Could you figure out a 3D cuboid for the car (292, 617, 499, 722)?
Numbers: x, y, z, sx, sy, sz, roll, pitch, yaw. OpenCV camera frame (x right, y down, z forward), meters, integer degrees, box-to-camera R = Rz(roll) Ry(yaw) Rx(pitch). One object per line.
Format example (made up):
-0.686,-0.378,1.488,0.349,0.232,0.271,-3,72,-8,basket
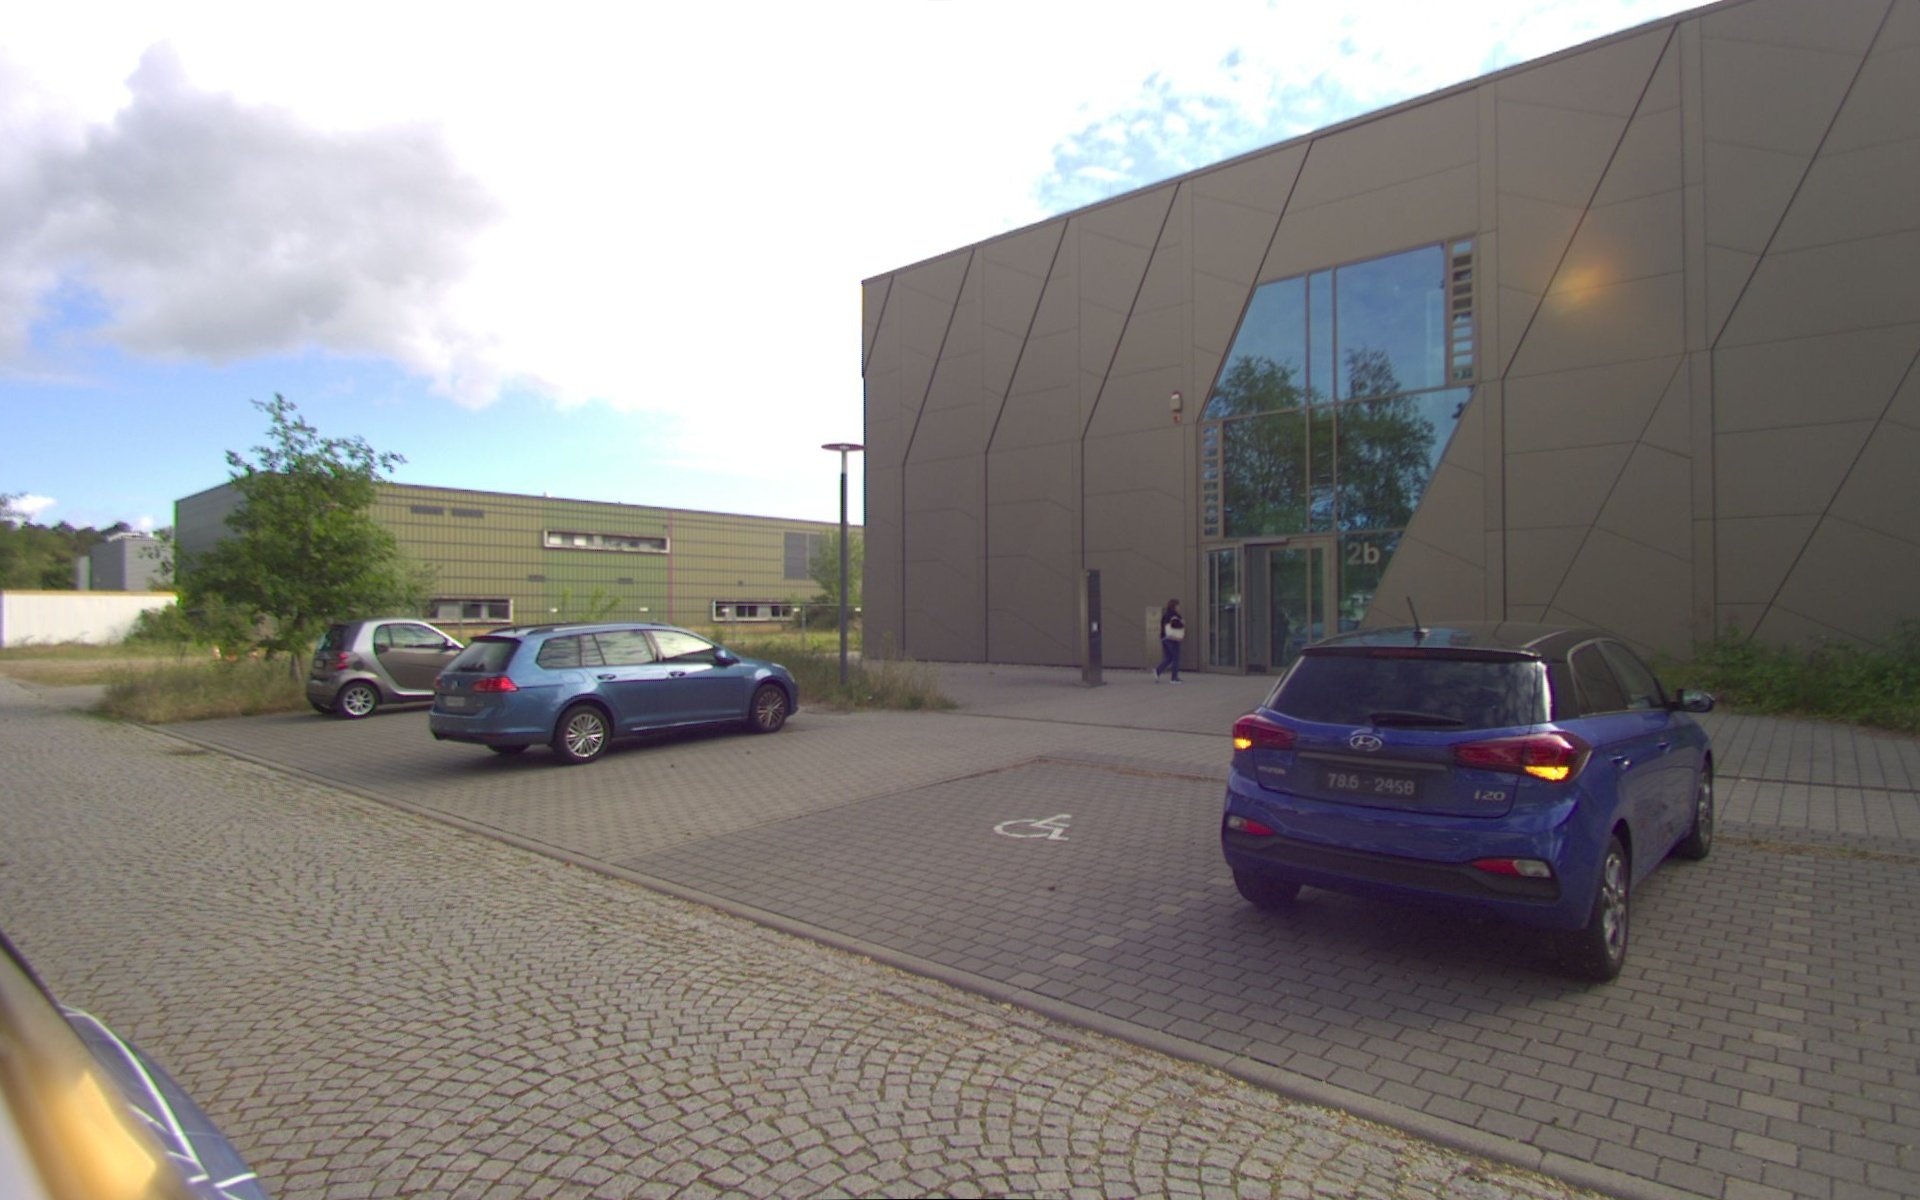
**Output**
-9.408,1.091,16.950,1.609,1.522,2.627,-2,0,40,car

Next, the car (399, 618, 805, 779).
-4.014,0.996,11.995,1.771,1.439,4.265,-2,0,38,car

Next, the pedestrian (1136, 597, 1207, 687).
3.729,0.714,17.800,0.818,1.506,0.973,-1,1,41,pedestrian

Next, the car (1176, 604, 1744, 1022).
3.044,0.813,5.765,1.852,1.489,3.724,-2,0,44,car
